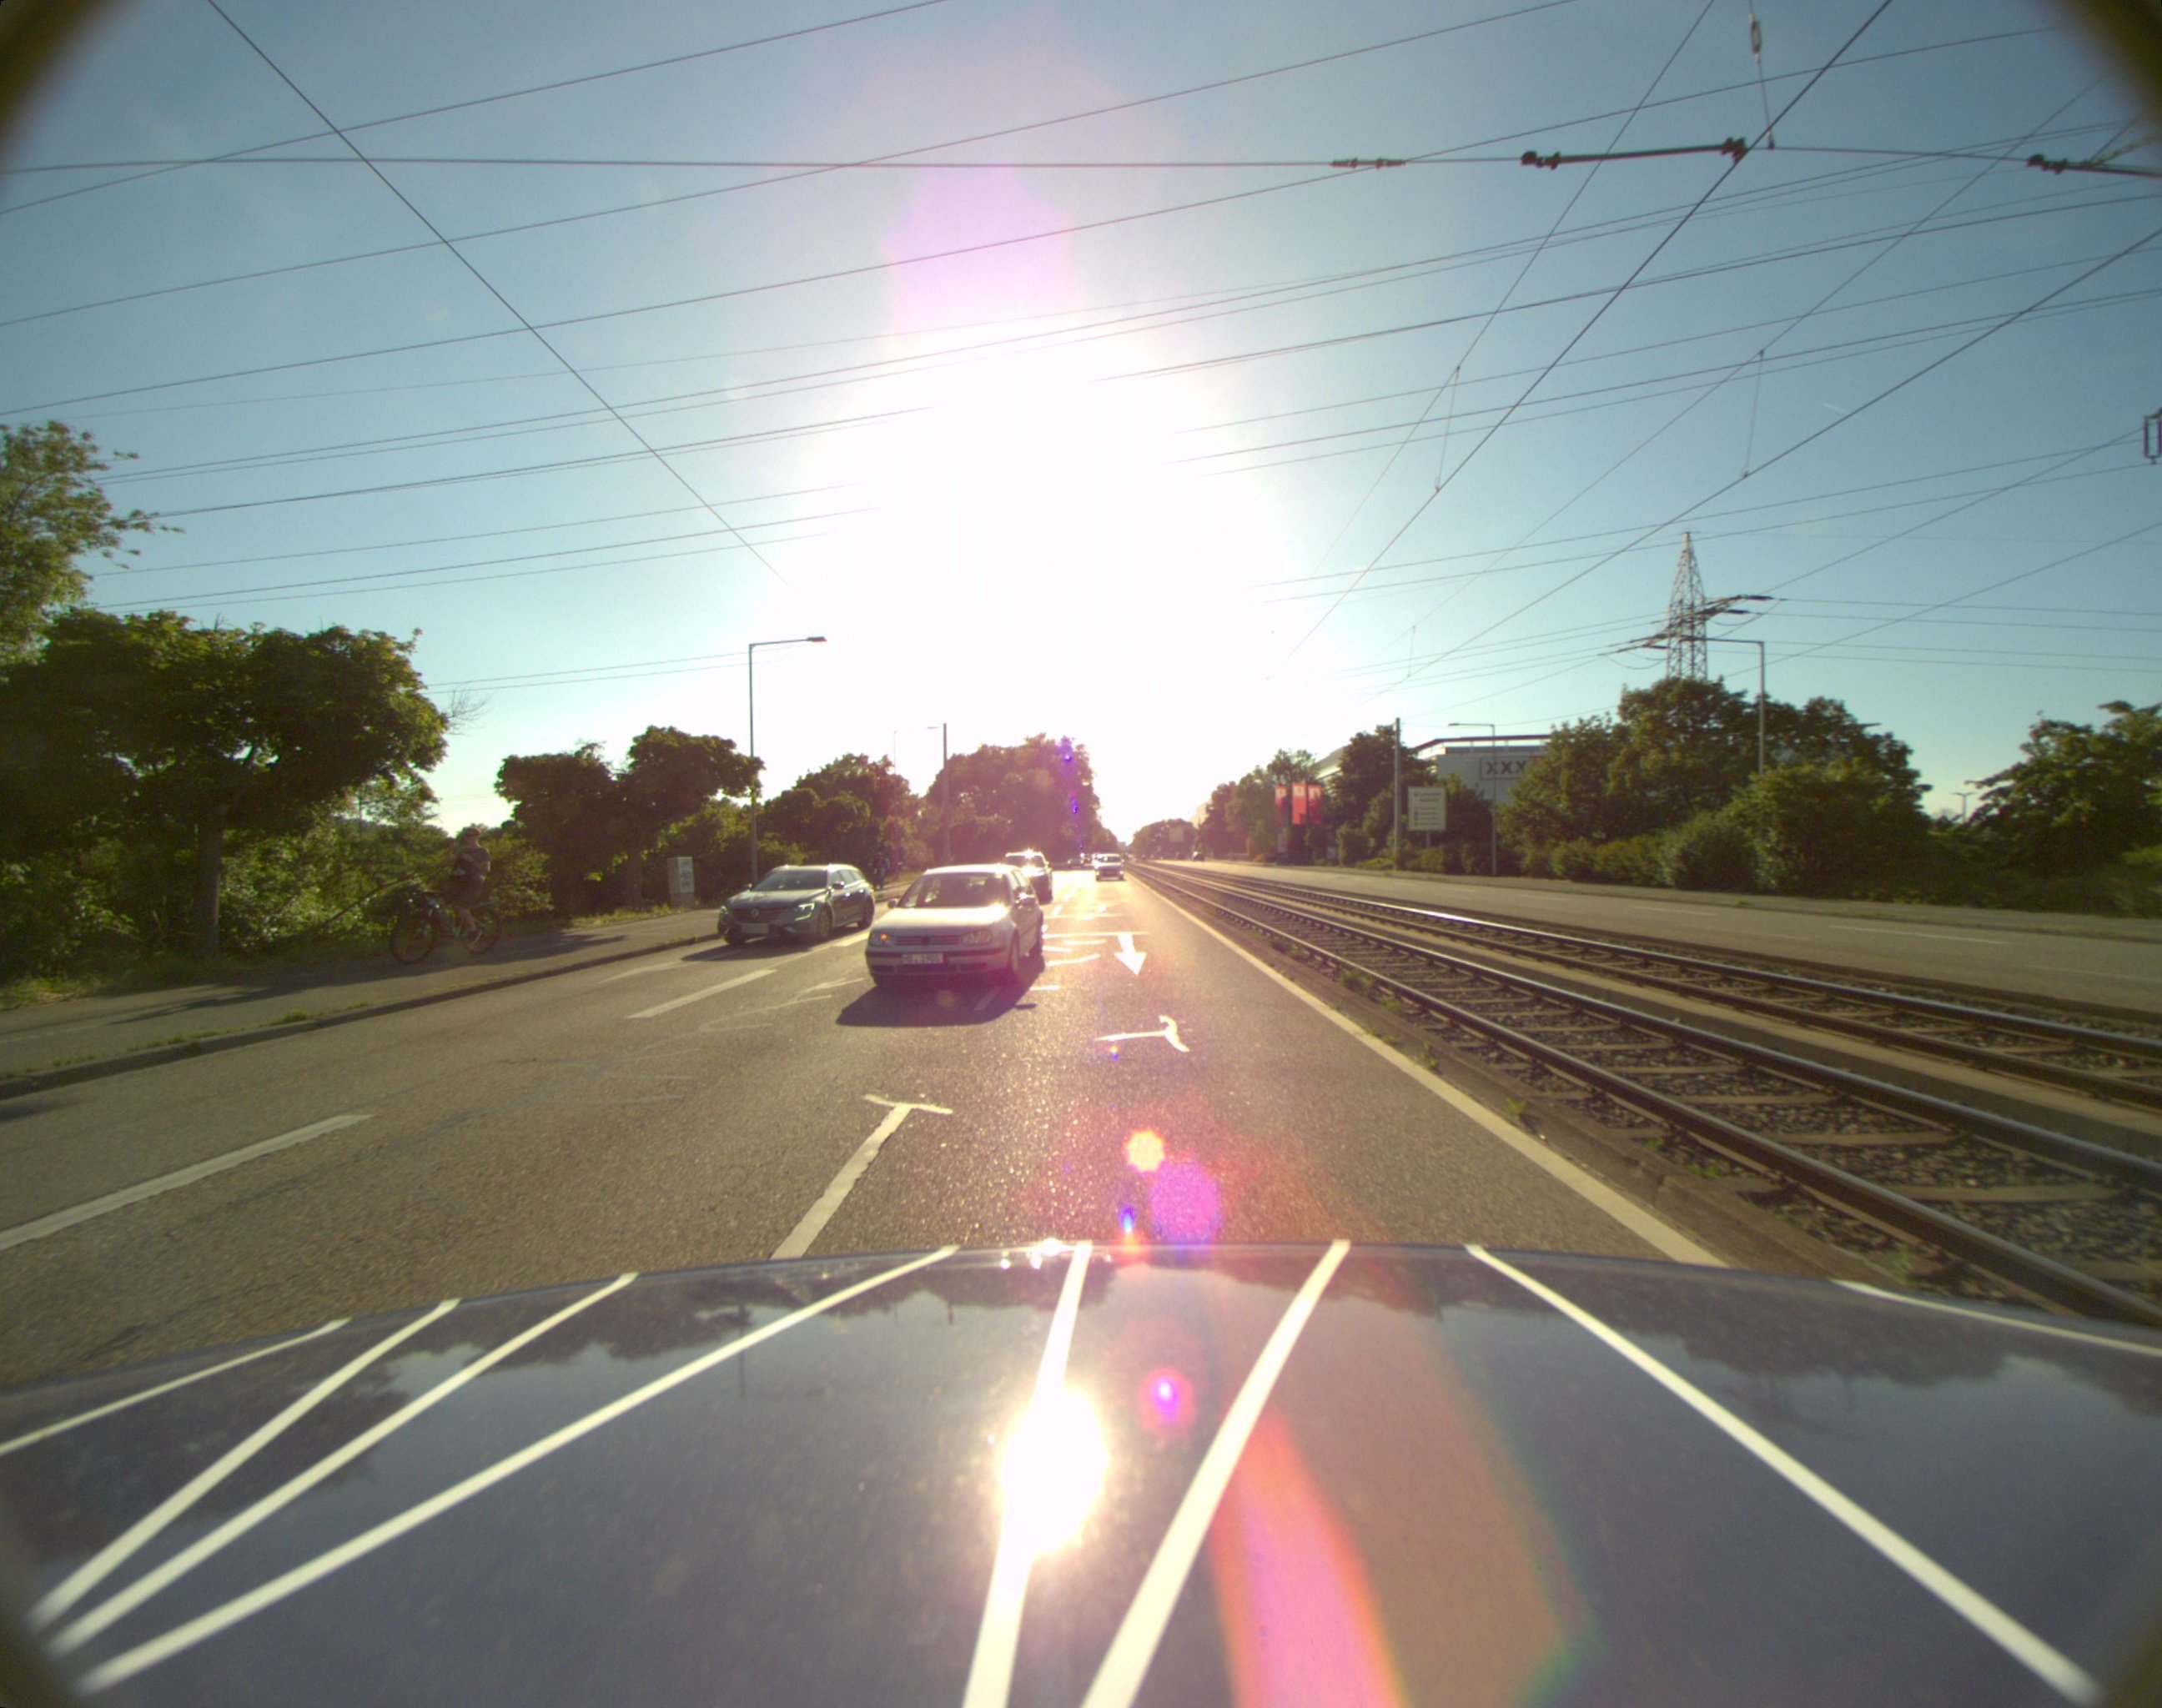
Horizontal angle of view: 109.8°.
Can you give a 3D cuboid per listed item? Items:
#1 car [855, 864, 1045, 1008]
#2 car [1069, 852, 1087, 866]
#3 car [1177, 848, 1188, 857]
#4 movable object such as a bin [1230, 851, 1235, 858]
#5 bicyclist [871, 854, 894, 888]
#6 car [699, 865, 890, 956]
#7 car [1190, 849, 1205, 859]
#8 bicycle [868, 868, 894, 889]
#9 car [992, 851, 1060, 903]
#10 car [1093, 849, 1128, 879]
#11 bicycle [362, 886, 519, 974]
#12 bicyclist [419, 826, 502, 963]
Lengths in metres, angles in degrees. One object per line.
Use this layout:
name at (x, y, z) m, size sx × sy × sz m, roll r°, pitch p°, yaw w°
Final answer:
car at (-1.538, 0.935, 10.355) m, size 1.695 × 1.437 × 4.001 m, roll -1°, pitch 1°, yaw 2°
car at (-0.292, 0.576, 89.302) m, size 1.881 × 1.449 × 4.417 m, roll -1°, pitch 1°, yaw 3°
car at (22.569, -0.362, 168.807) m, size 1.998 × 1.785 × 4.350 m, roll 0°, pitch 1°, yaw 2°
movable object such as a bin at (23.735, 0.090, 119.231) m, size 0.614 × 0.960 × 1.083 m, roll -3°, pitch 1°, yaw 2°
bicyclist at (-8.846, 0.734, 33.886) m, size 0.628 × 1.463 × 1.060 m, roll 3°, pitch 1°, yaw 2°
car at (-5.633, 1.030, 15.702) m, size 1.881 × 1.435 × 4.660 m, roll -1°, pitch 1°, yaw 4°
car at (20.441, -0.007, 134.009) m, size 1.998 × 1.616 × 4.683 m, roll 0°, pitch 1°, yaw 1°
bicycle at (-8.876, 1.060, 33.819) m, size 0.628 × 0.829 × 1.635 m, roll 3°, pitch 1°, yaw 2°
car at (-1.862, 0.755, 27.197) m, size 1.881 × 1.591 × 4.417 m, roll -1°, pitch 1°, yaw 3°
car at (1.746, 0.541, 44.443) m, size 1.881 × 1.591 × 4.417 m, roll -1°, pitch 1°, yaw 3°
bicycle at (-9.414, 1.078, 11.286) m, size 0.528 × 1.054 × 1.971 m, roll -3°, pitch 1°, yaw 3°
bicyclist at (-9.423, 0.593, 11.560) m, size 0.528 × 2.005 × 0.729 m, roll -3°, pitch 1°, yaw 3°
